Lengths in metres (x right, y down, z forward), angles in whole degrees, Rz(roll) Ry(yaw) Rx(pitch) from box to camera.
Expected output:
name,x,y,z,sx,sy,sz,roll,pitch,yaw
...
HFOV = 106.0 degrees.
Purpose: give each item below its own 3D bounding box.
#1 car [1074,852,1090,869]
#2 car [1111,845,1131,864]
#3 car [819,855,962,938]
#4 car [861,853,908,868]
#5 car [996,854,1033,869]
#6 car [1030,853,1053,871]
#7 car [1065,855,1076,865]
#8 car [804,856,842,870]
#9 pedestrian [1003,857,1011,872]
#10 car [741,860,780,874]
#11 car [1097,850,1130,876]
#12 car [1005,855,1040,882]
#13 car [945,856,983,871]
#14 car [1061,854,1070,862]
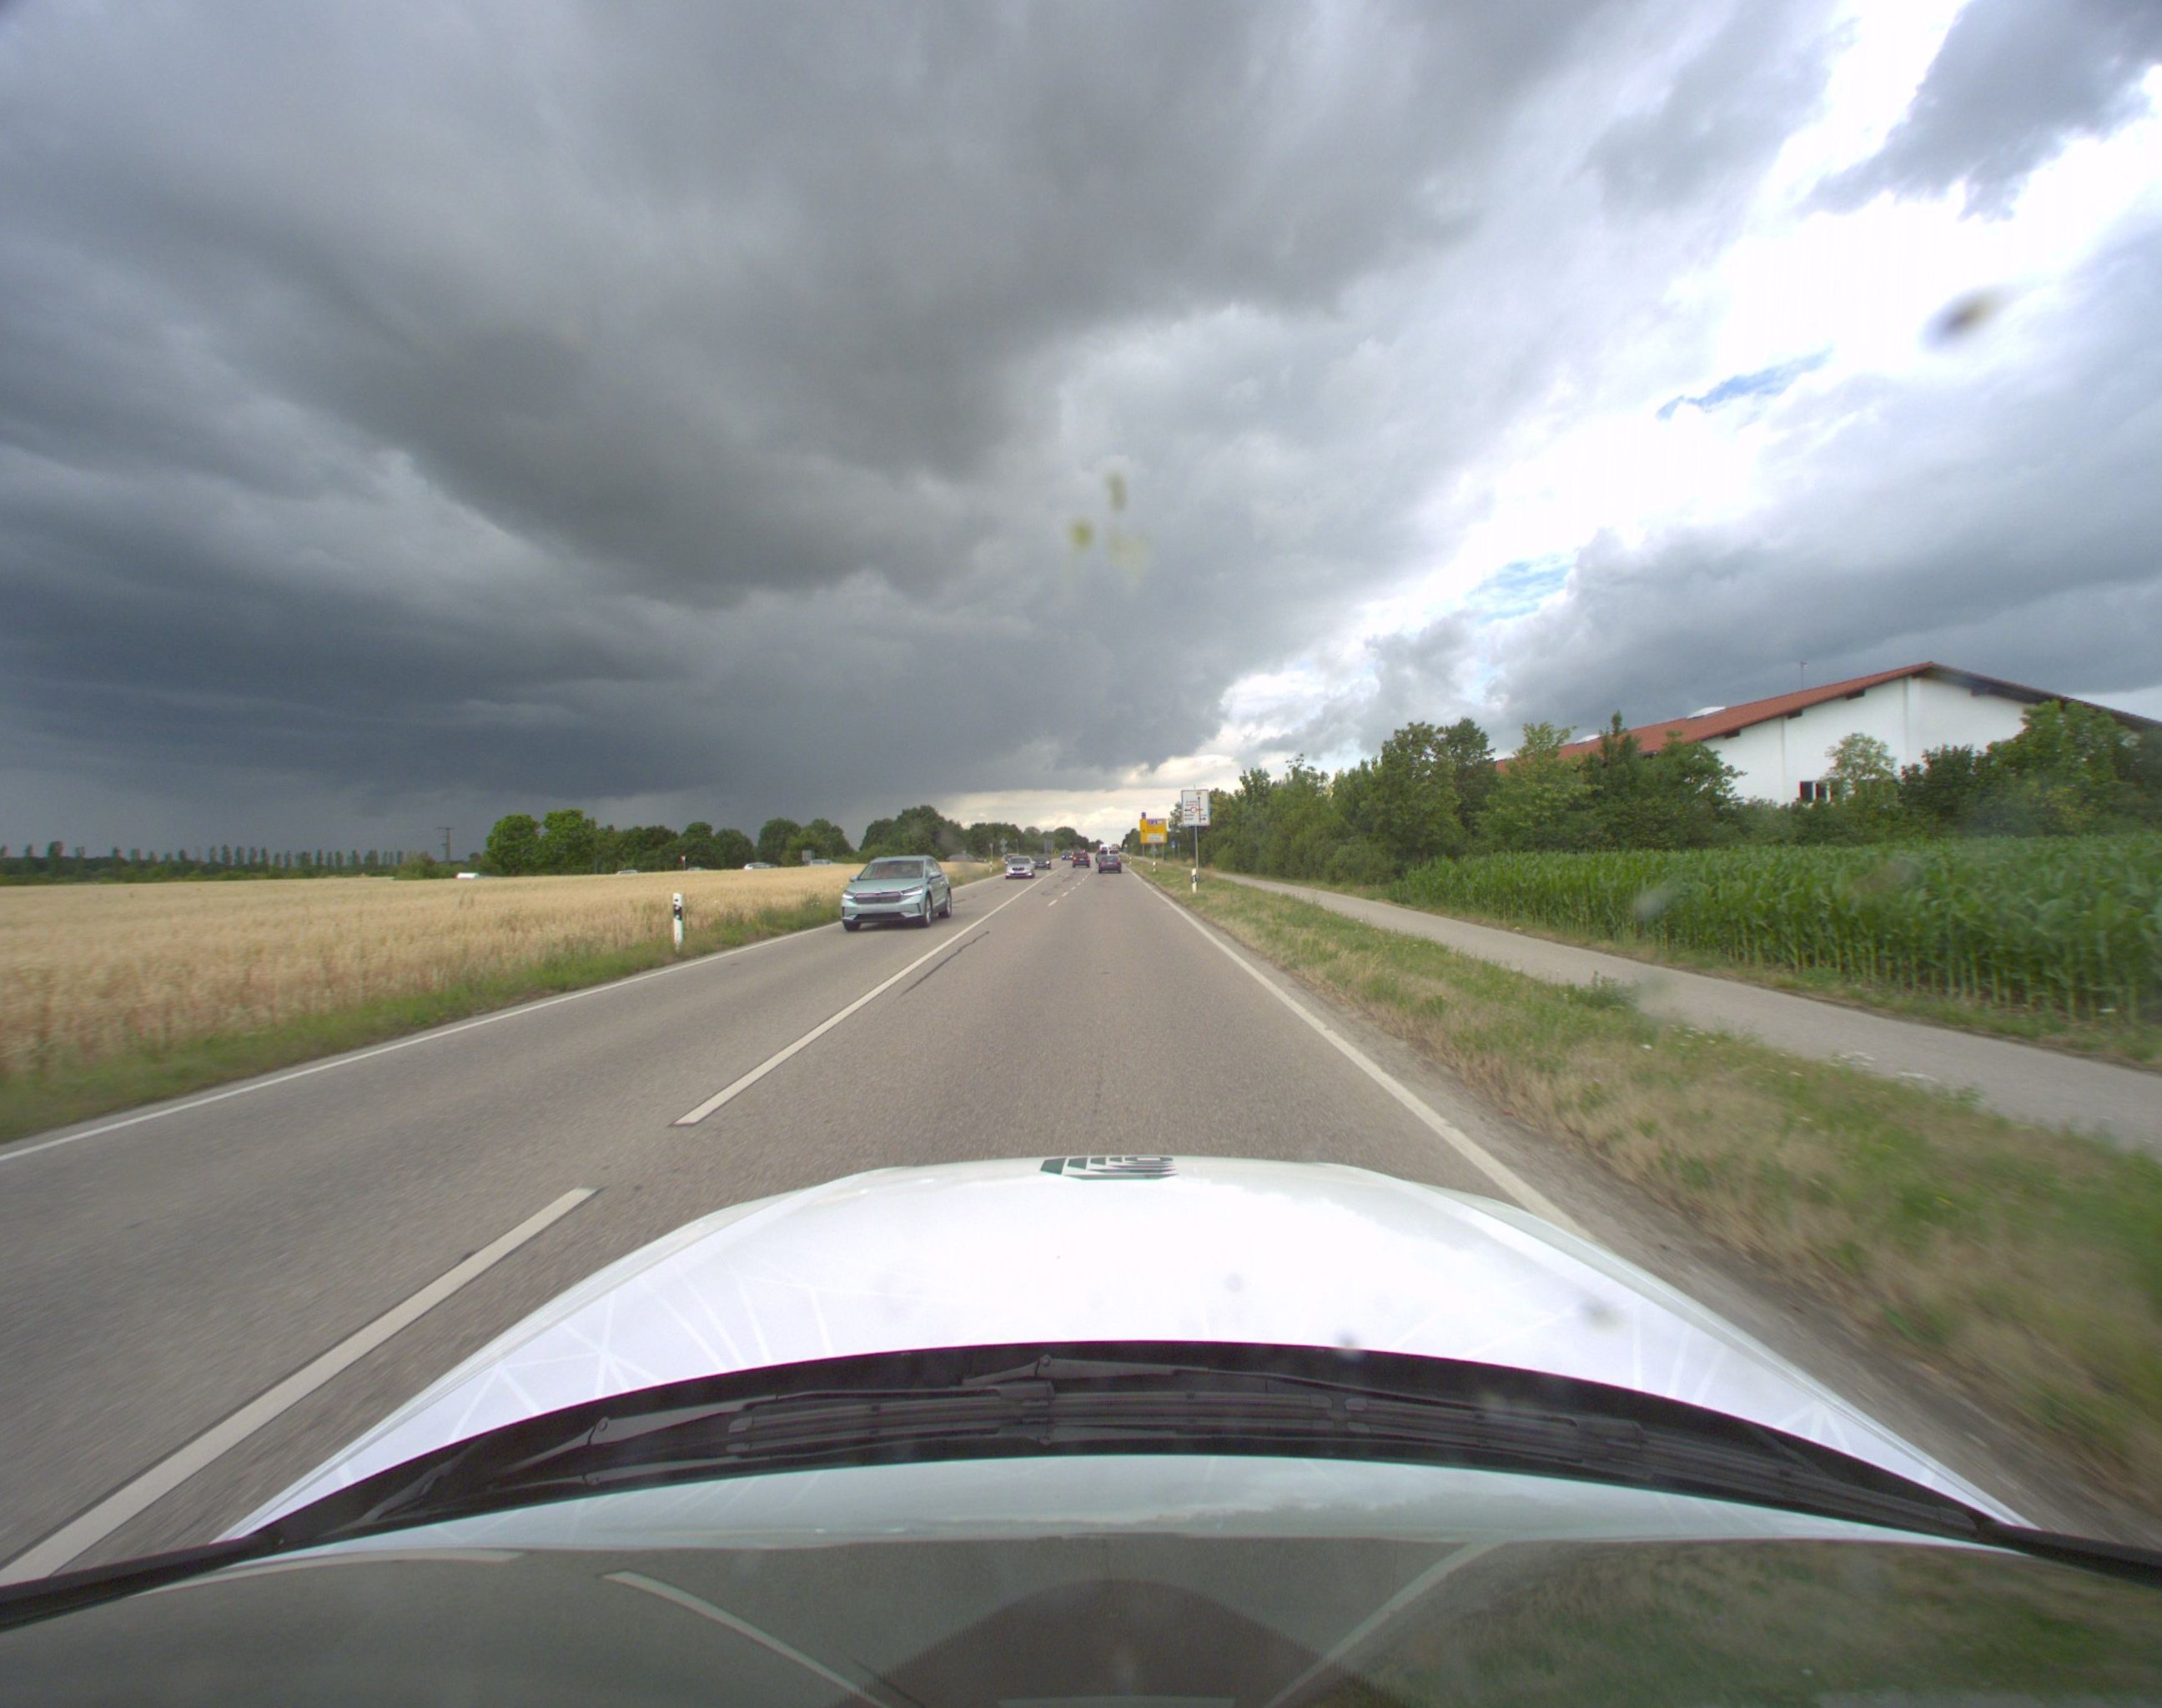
name,x,y,z,sx,sy,sz,roll,pitch,yaw
car,0.134,0.704,86.730,1.566,1.701,4.002,-2,0,2
car,5.564,0.026,112.785,1.986,2.452,4.866,-2,0,10
car,-4.298,0.888,19.255,2.057,1.580,4.767,-3,0,1
car,-24.309,0.836,100.962,5.282,1.649,1.869,-2,0,5
car,-8.076,0.890,99.681,4.403,1.649,1.500,-2,0,-4
car,-3.839,0.729,79.099,1.847,1.630,4.001,-2,0,2
car,-1.700,1.036,138.081,1.640,1.590,4.002,-2,0,2
car,-32.133,1.145,101.406,4.052,1.649,1.869,-2,0,5
pedestrian,-7.662,1.097,83.976,0.363,1.575,0.708,-2,0,37
car,-40.089,1.610,101.909,4.052,1.649,1.869,-2,0,5
car,2.549,0.667,64.979,2.365,1.880,4.476,-3,0,-1
car,-3.791,0.908,53.646,1.760,1.601,4.932,-2,0,2
car,-14.282,1.137,99.251,4.401,1.649,1.501,-2,0,-2
car,-3.501,0.831,181.369,1.640,1.590,4.002,-2,0,2
